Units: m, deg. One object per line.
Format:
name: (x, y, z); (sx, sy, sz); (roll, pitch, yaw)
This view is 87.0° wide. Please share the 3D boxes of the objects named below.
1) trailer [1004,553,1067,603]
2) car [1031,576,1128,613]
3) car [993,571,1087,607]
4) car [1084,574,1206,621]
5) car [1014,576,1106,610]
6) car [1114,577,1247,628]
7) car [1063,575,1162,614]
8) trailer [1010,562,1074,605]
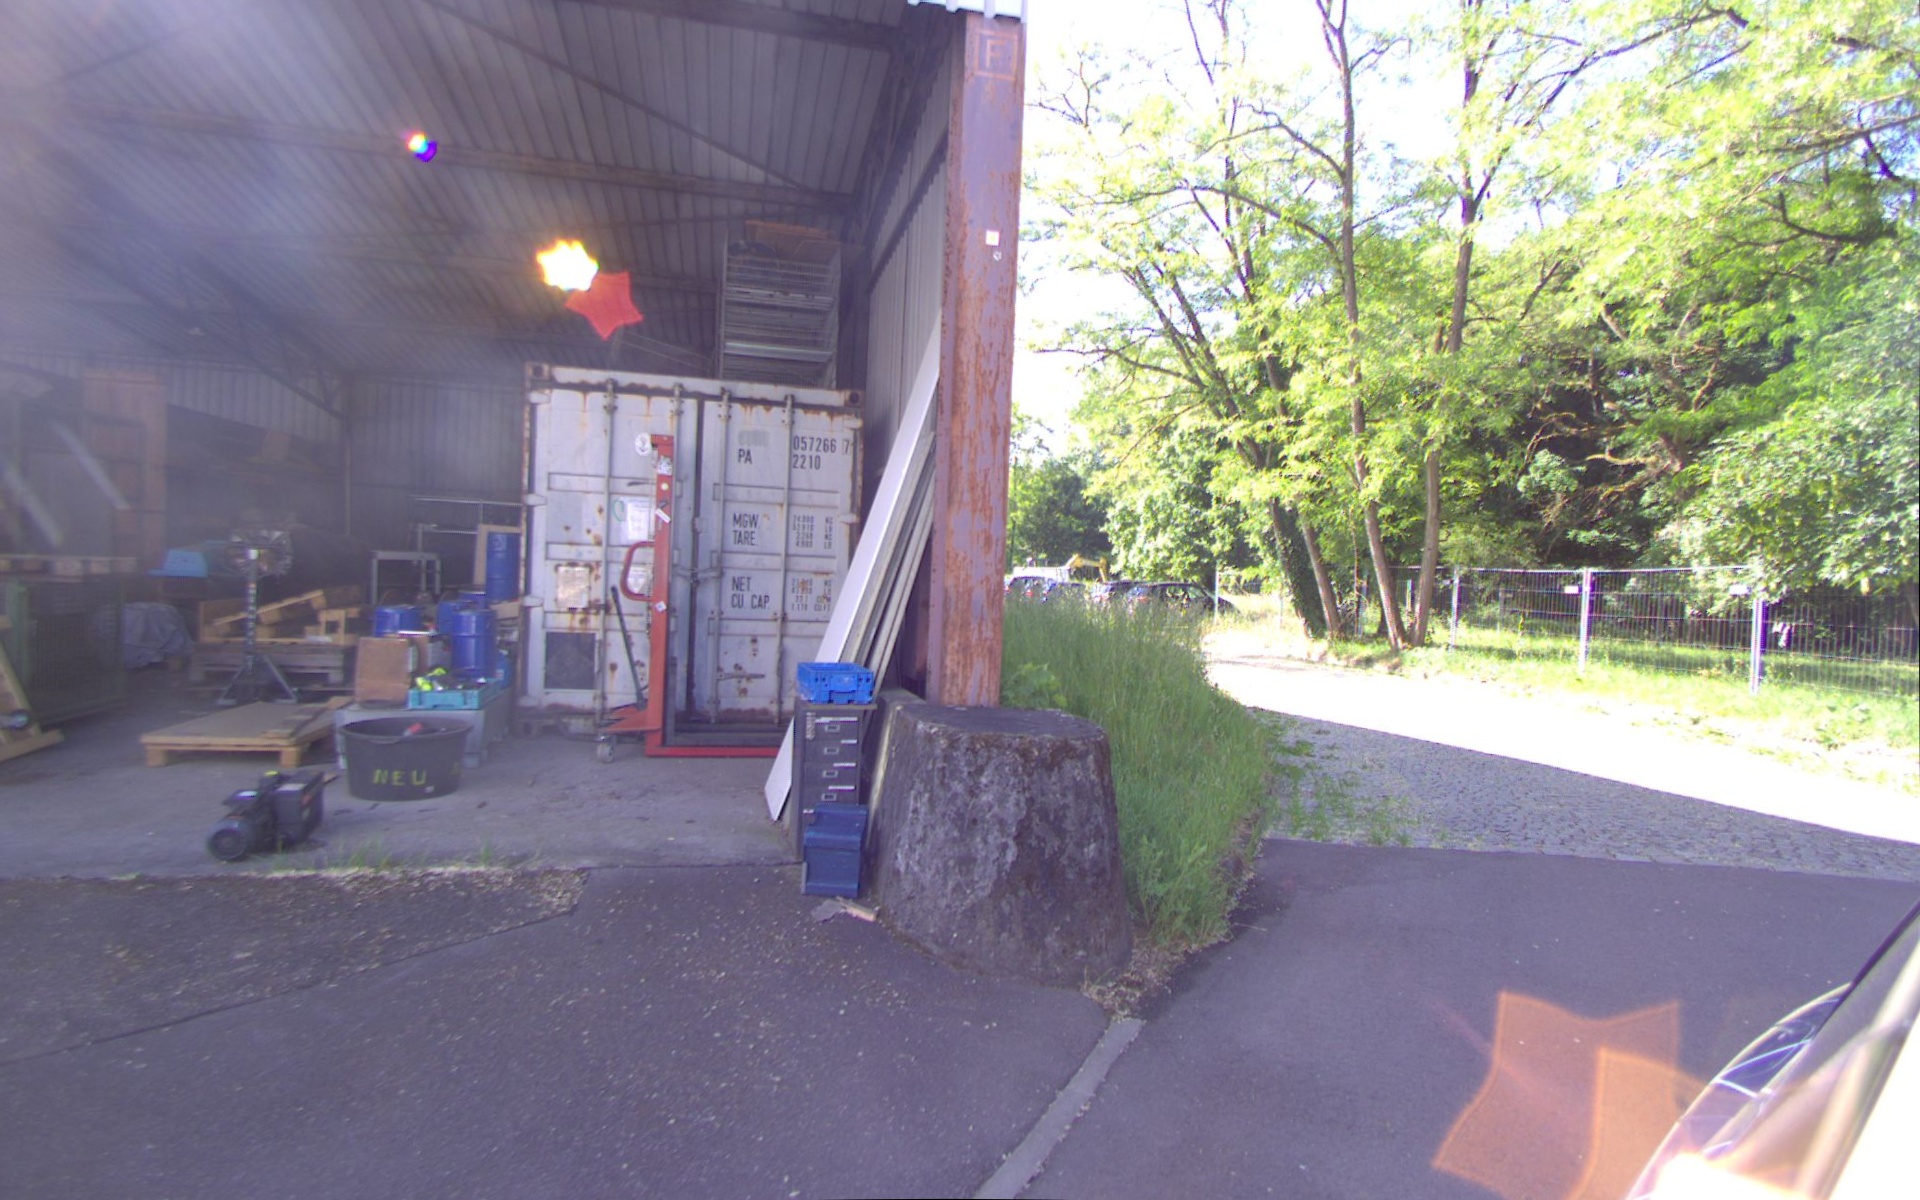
trailer: (3.990, -1.205, 53.930); (2.791, 2.569, 2.271); (-2, 2, -11)
car: (5.141, -0.235, 43.737); (3.711, 1.476, 1.790); (1, 2, -12)
car: (3.820, -0.543, 48.677); (4.044, 1.609, 1.975); (1, 2, -13)
car: (7.086, -0.135, 38.843); (4.183, 1.651, 1.885); (-1, 2, -18)
car: (4.525, -0.328, 46.135); (3.710, 1.428, 1.900); (1, 2, -13)
car: (7.729, 0.050, 35.531); (4.183, 1.609, 1.834); (-2, 2, -17)
car: (6.211, -0.228, 41.445); (3.649, 1.469, 1.747); (1, 2, -7)
trailer: (4.184, -0.845, 51.764); (2.791, 2.076, 1.828); (1, 2, -11)
